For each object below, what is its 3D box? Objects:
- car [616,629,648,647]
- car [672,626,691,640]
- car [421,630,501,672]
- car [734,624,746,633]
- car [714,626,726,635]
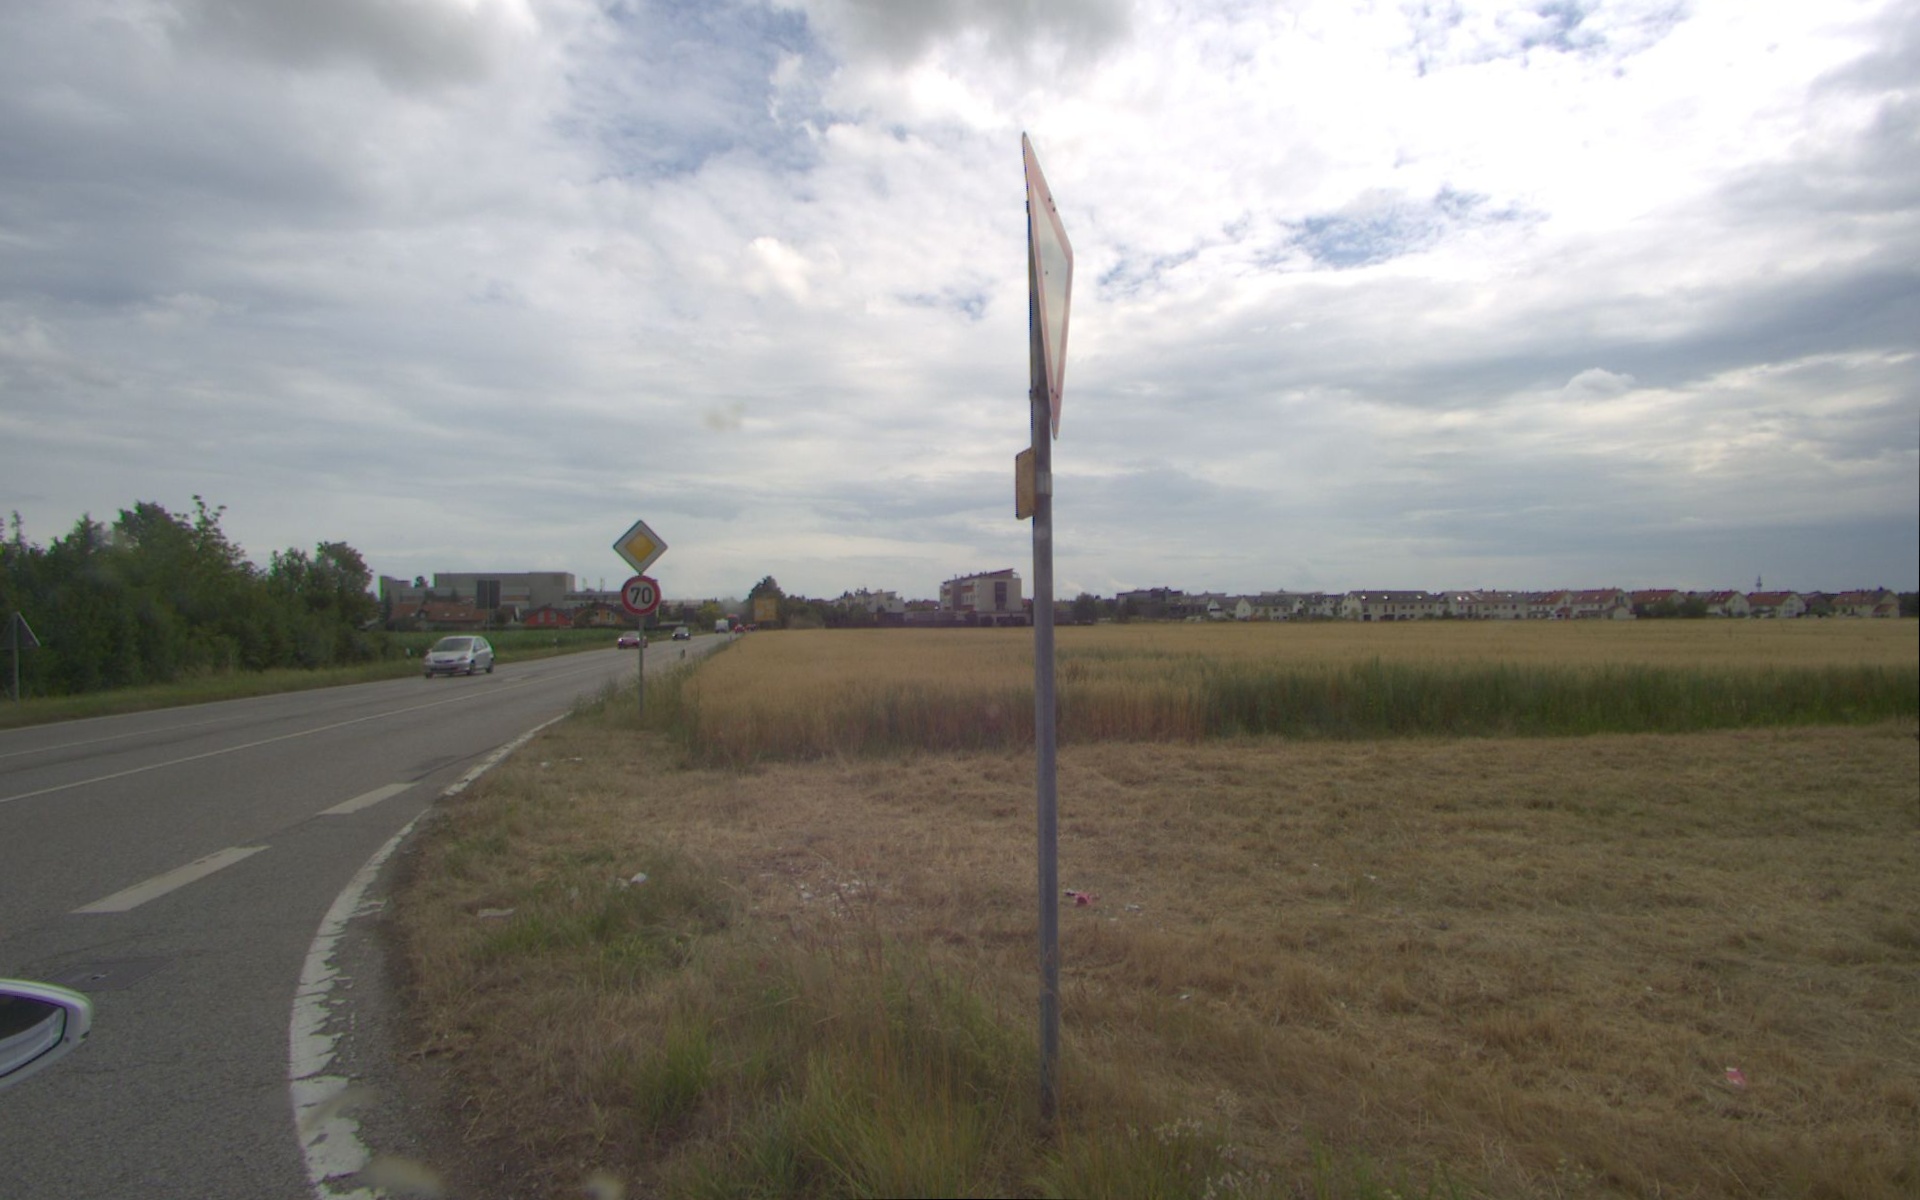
[{"bbox_3d":[-25.405,2.916,77.759,1.743,1.257,4.209,-1,-1,-10],"label":"car"},{"bbox_3d":[-31.781,3.776,114.464,1.643,1.447,4.300,-2,-1,-11],"label":"car"},{"bbox_3d":[-19.079,1.917,38.459,1.703,1.450,3.932,-2,-1,-11],"label":"car"},{"bbox_3d":[-40.386,5.187,183.737,1.828,1.586,3.999,0,-1,-8],"label":"car"},{"bbox_3d":[-45.970,5.823,192.152,1.962,1.721,4.673,0,-1,-10],"label":"car"}]
